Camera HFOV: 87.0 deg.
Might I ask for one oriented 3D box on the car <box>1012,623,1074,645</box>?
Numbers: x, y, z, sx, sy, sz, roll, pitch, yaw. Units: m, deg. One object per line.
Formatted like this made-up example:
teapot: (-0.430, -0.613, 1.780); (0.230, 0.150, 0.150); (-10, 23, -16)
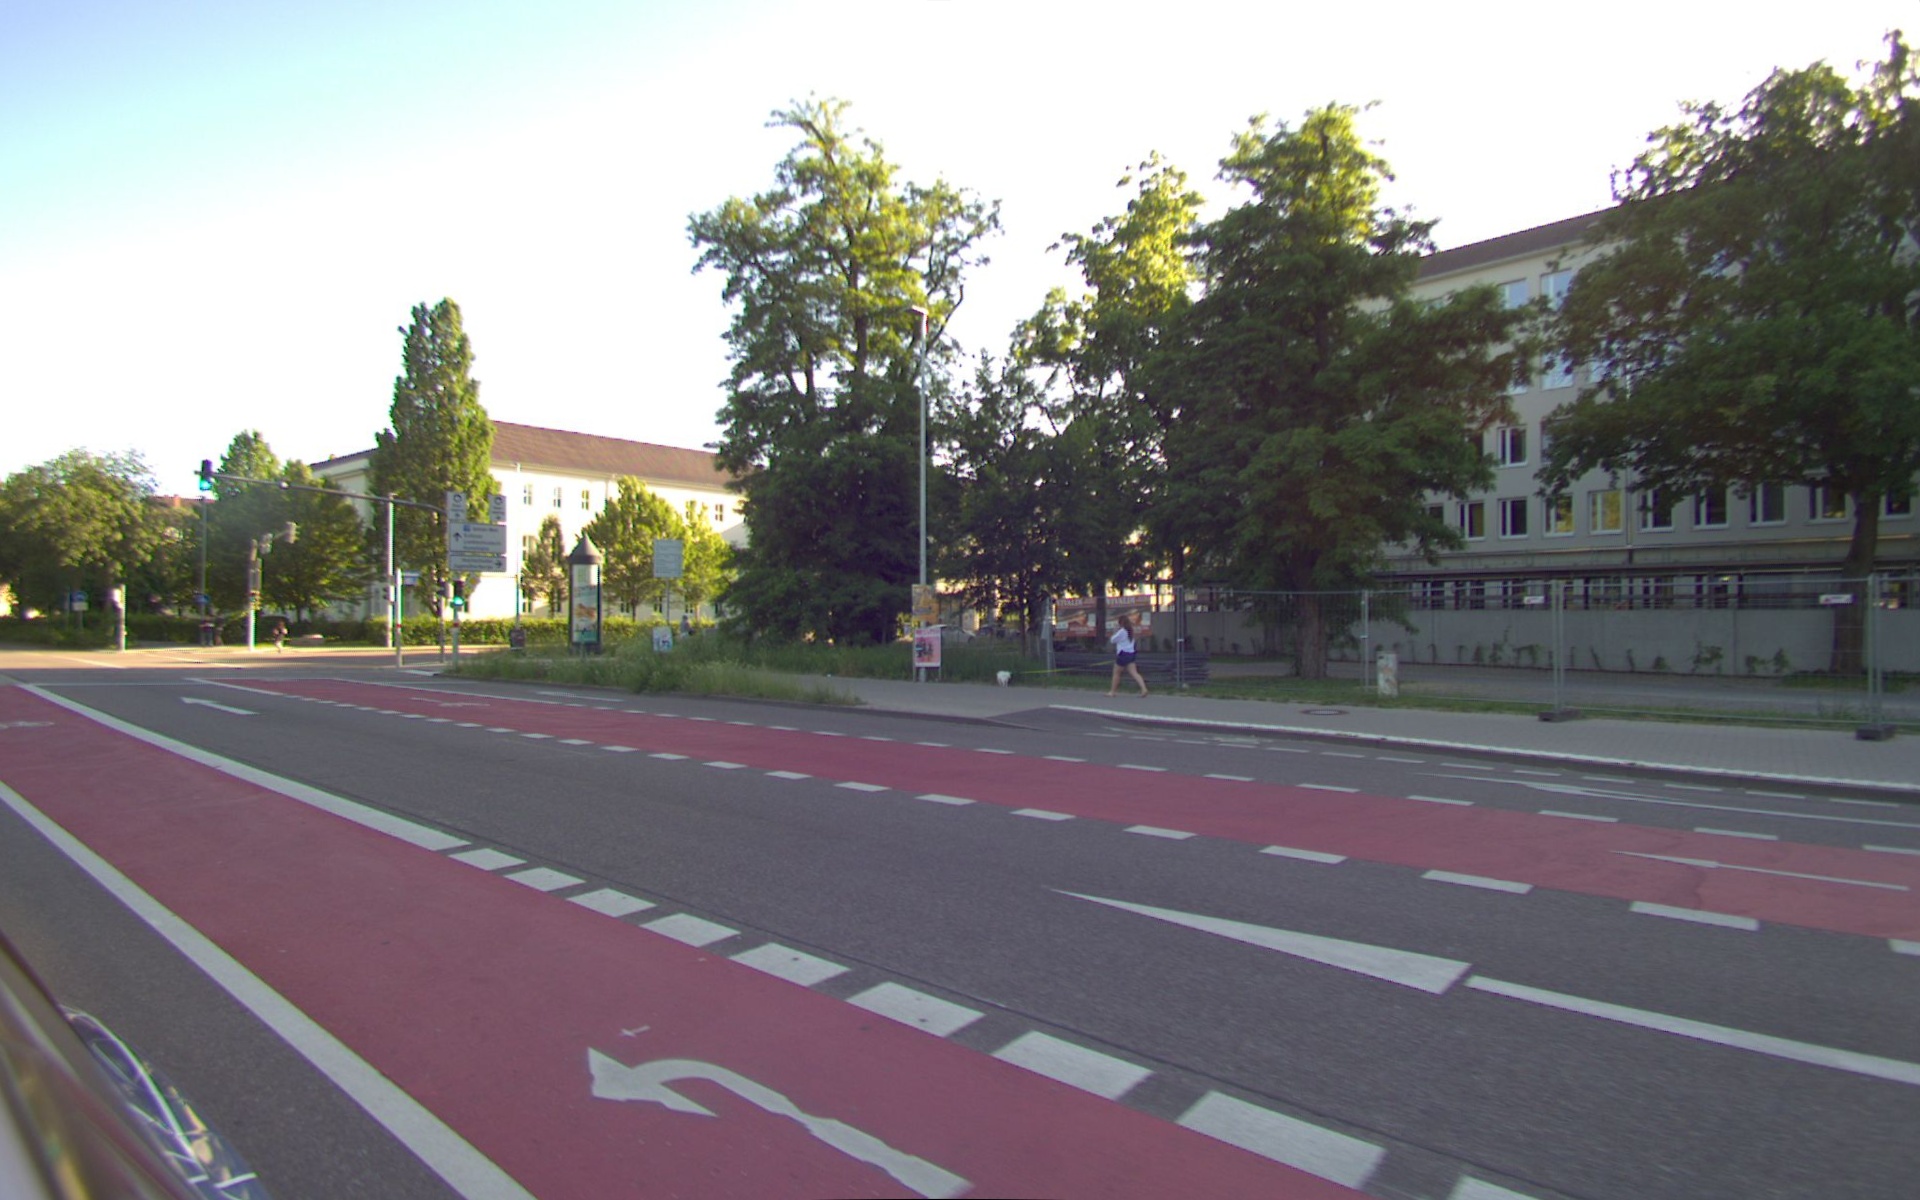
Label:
car: (6.044, 2.444, 73.167); (4.195, 1.551, 2.239); (1, -2, -43)

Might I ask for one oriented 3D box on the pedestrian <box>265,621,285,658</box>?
pedestrian: (-34.465, 1.968, 50.937); (0.734, 1.830, 0.727); (1, -2, -43)

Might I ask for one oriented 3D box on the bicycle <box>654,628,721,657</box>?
bicycle: (-11.209, 1.735, 41.685); (0.980, 1.144, 2.542); (-1, -2, 43)

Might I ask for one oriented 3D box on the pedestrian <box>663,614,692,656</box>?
pedestrian: (-11.684, 1.458, 41.848); (0.643, 1.709, 0.966); (-1, -2, 43)

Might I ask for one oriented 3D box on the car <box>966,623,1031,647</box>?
car: (2.657, 2.362, 69.408); (4.195, 1.551, 2.239); (1, -2, -43)

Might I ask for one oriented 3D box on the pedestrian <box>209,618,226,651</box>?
pedestrian: (-41.396, 1.900, 56.436); (0.681, 1.830, 0.681); (1, -2, -43)

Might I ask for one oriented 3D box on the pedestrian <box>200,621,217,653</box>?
pedestrian: (-40.854, 1.995, 55.011); (0.681, 1.694, 0.681); (1, -2, -43)

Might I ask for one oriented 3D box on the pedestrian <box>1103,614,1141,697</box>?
pedestrian: (3.070, 1.039, 19.217); (0.570, 1.545, 0.447); (-1, -2, 35)

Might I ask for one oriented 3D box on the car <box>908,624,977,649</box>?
car: (-1.113, 2.312, 65.379); (4.195, 1.551, 2.071); (1, -2, -43)

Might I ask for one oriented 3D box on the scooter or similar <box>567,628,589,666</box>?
scooter or similar: (-13.457, 1.643, 35.638); (0.683, 1.304, 1.501); (1, -1, -22)
